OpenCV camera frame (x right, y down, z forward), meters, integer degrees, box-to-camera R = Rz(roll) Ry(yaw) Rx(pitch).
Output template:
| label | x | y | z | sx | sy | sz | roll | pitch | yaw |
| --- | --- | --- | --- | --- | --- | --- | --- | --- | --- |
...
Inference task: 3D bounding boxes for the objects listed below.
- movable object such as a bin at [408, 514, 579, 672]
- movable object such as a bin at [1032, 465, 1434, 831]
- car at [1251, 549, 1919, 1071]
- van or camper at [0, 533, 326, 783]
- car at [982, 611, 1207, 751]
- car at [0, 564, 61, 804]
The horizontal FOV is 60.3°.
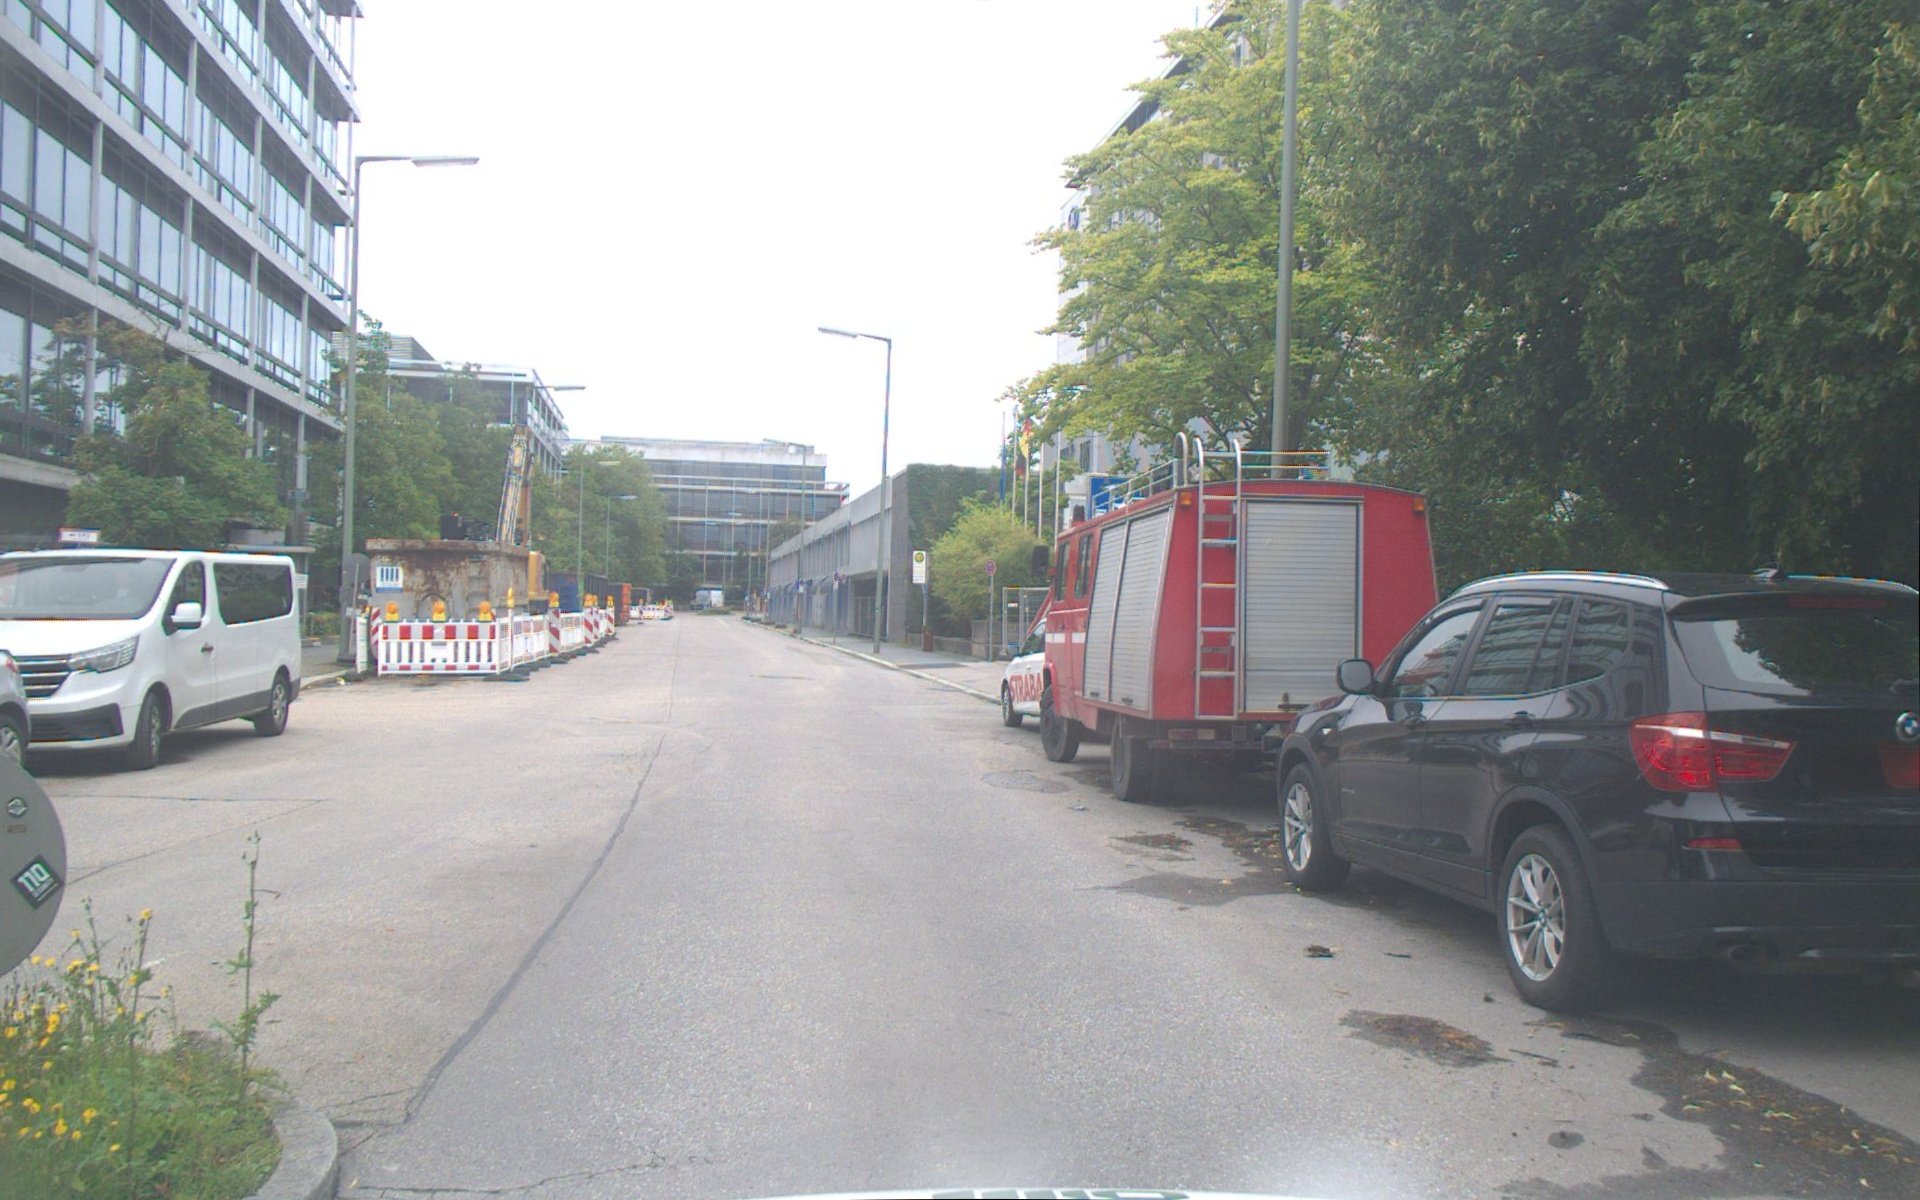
| label | x | y | z | sx | sy | sz | roll | pitch | yaw |
| --- | --- | --- | --- | --- | --- | --- | --- | --- | --- |
| movable object such as a bin | -12.358 | -0.183 | 44.676 | 3.180 | 3.781 | 8.991 | 1 | 0 | -8 |
| movable object such as a bin | 2.050 | 0.357 | 14.592 | 2.063 | 2.501 | 6.181 | 1 | 0 | -4 |
| car | 2.866 | 0.700 | 7.651 | 1.742 | 1.678 | 4.453 | 1 | 0 | -7 |
| van or camper | -8.102 | 0.461 | 16.308 | 1.954 | 2.049 | 5.372 | 1 | 0 | -4 |
| car | 1.592 | 0.958 | 21.181 | 1.745 | 1.577 | 4.245 | 1 | 0 | -12 |
| car | -7.932 | 0.603 | 10.684 | 1.954 | 1.758 | 4.447 | 1 | 0 | -3 |
